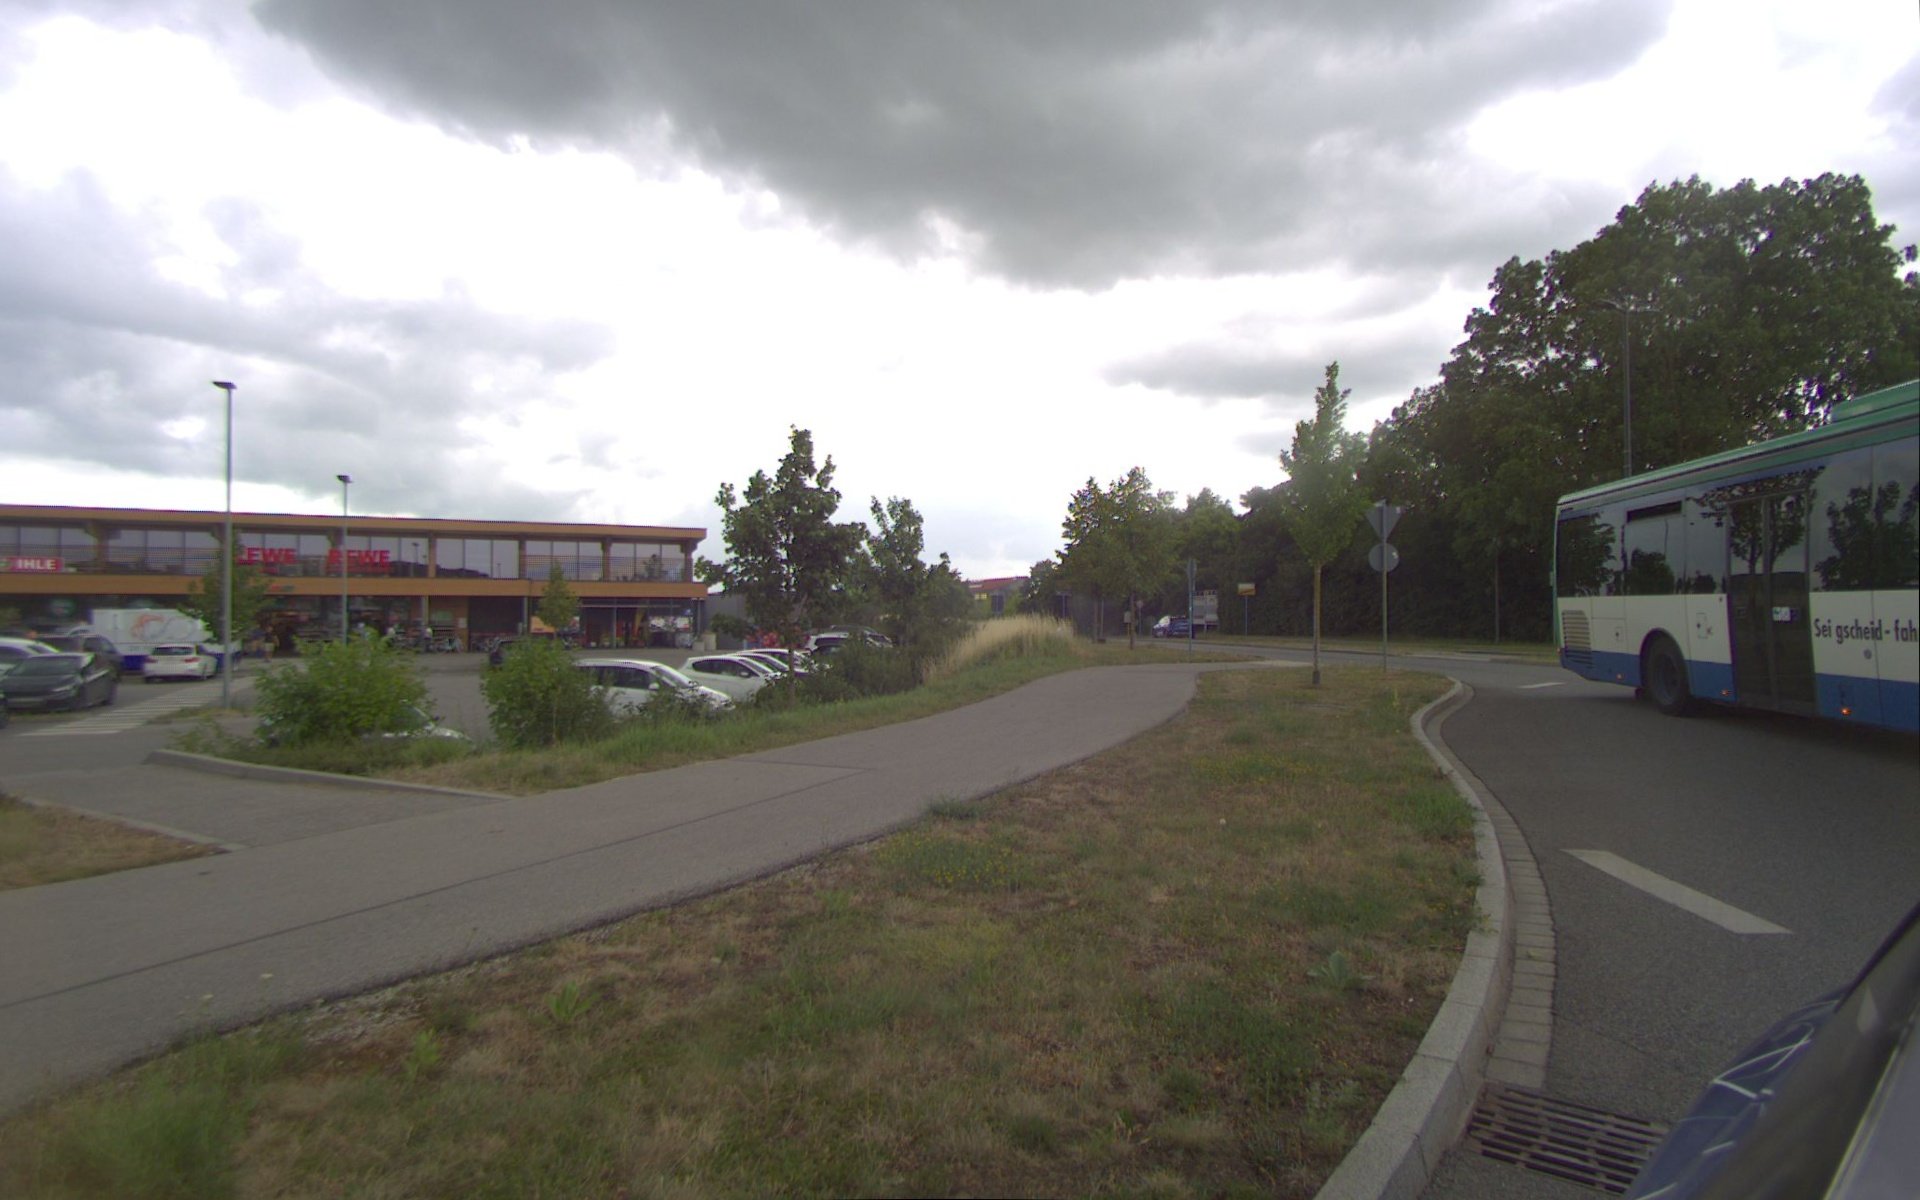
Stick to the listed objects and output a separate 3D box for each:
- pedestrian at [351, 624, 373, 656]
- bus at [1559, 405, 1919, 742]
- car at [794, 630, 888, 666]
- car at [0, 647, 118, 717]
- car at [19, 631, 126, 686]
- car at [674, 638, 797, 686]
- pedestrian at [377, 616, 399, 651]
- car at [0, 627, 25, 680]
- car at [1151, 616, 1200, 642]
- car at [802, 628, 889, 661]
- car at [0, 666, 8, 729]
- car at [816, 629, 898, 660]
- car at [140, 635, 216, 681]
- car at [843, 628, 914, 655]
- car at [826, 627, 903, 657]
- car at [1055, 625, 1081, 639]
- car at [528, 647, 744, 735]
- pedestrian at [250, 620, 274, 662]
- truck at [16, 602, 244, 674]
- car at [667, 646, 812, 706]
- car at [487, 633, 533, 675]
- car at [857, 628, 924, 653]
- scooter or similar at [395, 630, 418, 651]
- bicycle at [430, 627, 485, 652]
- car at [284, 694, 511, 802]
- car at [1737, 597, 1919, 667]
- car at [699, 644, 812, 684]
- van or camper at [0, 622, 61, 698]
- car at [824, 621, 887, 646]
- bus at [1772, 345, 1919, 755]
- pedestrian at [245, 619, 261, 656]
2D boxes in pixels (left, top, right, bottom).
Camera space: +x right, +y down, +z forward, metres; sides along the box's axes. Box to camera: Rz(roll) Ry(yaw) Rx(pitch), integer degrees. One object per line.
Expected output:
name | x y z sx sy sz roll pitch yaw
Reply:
pedestrian | -32.151 2.166 54.424 0.789 1.678 0.751 0 -1 -3
bus | 9.858 -0.314 12.567 2.486 3.299 5.443 0 1 12
car | -5.165 2.073 44.245 3.823 1.483 1.694 -1 -1 7
car | -24.081 2.125 27.038 1.697 1.573 4.004 0 -1 -29
car | -32.235 2.068 36.872 1.814 1.747 4.126 -2 0 -25
car | -7.005 1.920 31.830 3.602 1.311 1.718 -1 0 -6
pedestrian | -32.442 1.910 57.366 0.913 1.923 0.791 1 -4 -44
car | -35.321 1.936 36.055 1.736 1.878 4.006 -1 -1 -24
car | 13.303 1.826 62.648 1.727 1.449 4.085 -1 -3 -7
car | -5.366 2.088 47.735 3.823 1.483 1.694 -1 -1 7
car | -21.877 2.221 21.233 1.799 1.416 4.004 0 0 -28
car | -5.142 2.225 50.842 3.823 1.483 1.694 -1 -1 7
car | -29.613 2.157 38.448 1.697 1.549 4.004 0 -1 -29
car | -4.621 2.357 57.768 3.823 1.483 1.694 -1 -1 7
car | -5.095 2.230 53.991 3.823 1.483 1.694 -1 -1 7
car | 10.717 3.185 100.575 1.794 1.324 4.118 1 -1 -6
car | -7.381 2.043 23.296 4.363 1.694 1.799 2 0 3
pedestrian | -34.786 2.050 50.455 0.913 2.039 0.806 0 -1 -31
truck | -35.261 1.526 43.409 7.111 2.843 2.979 0 -1 -29
car | -6.390 2.196 29.698 3.920 1.527 2.002 -1 0 -5
car | -19.211 2.269 43.145 1.680 1.588 3.675 0 -1 -26
car | -4.225 2.469 61.696 3.823 1.483 1.694 -1 -1 7
scooter or similar | -31.749 2.312 58.005 0.986 1.141 0.791 1 -4 -44
bicycle | -28.803 2.243 58.023 2.810 1.326 0.981 0 -1 -25
car | -9.208 2.337 16.516 3.698 1.390 1.565 -2 -1 29
car | 21.013 0.691 22.848 5.243 1.517 1.951 -1 -1 32
car | -7.143 2.235 35.470 3.613 1.311 1.413 0 -1 7
van or camper | -29.168 1.746 29.049 4.705 2.125 1.768 0 -1 -22
car | -6.685 2.133 64.701 3.918 1.462 1.886 -1 -1 -8
bus | 8.686 -0.371 6.647 2.486 3.299 6.527 0 1 12
pedestrian | -38.640 2.050 55.315 0.567 1.974 0.526 0 -1 -8
